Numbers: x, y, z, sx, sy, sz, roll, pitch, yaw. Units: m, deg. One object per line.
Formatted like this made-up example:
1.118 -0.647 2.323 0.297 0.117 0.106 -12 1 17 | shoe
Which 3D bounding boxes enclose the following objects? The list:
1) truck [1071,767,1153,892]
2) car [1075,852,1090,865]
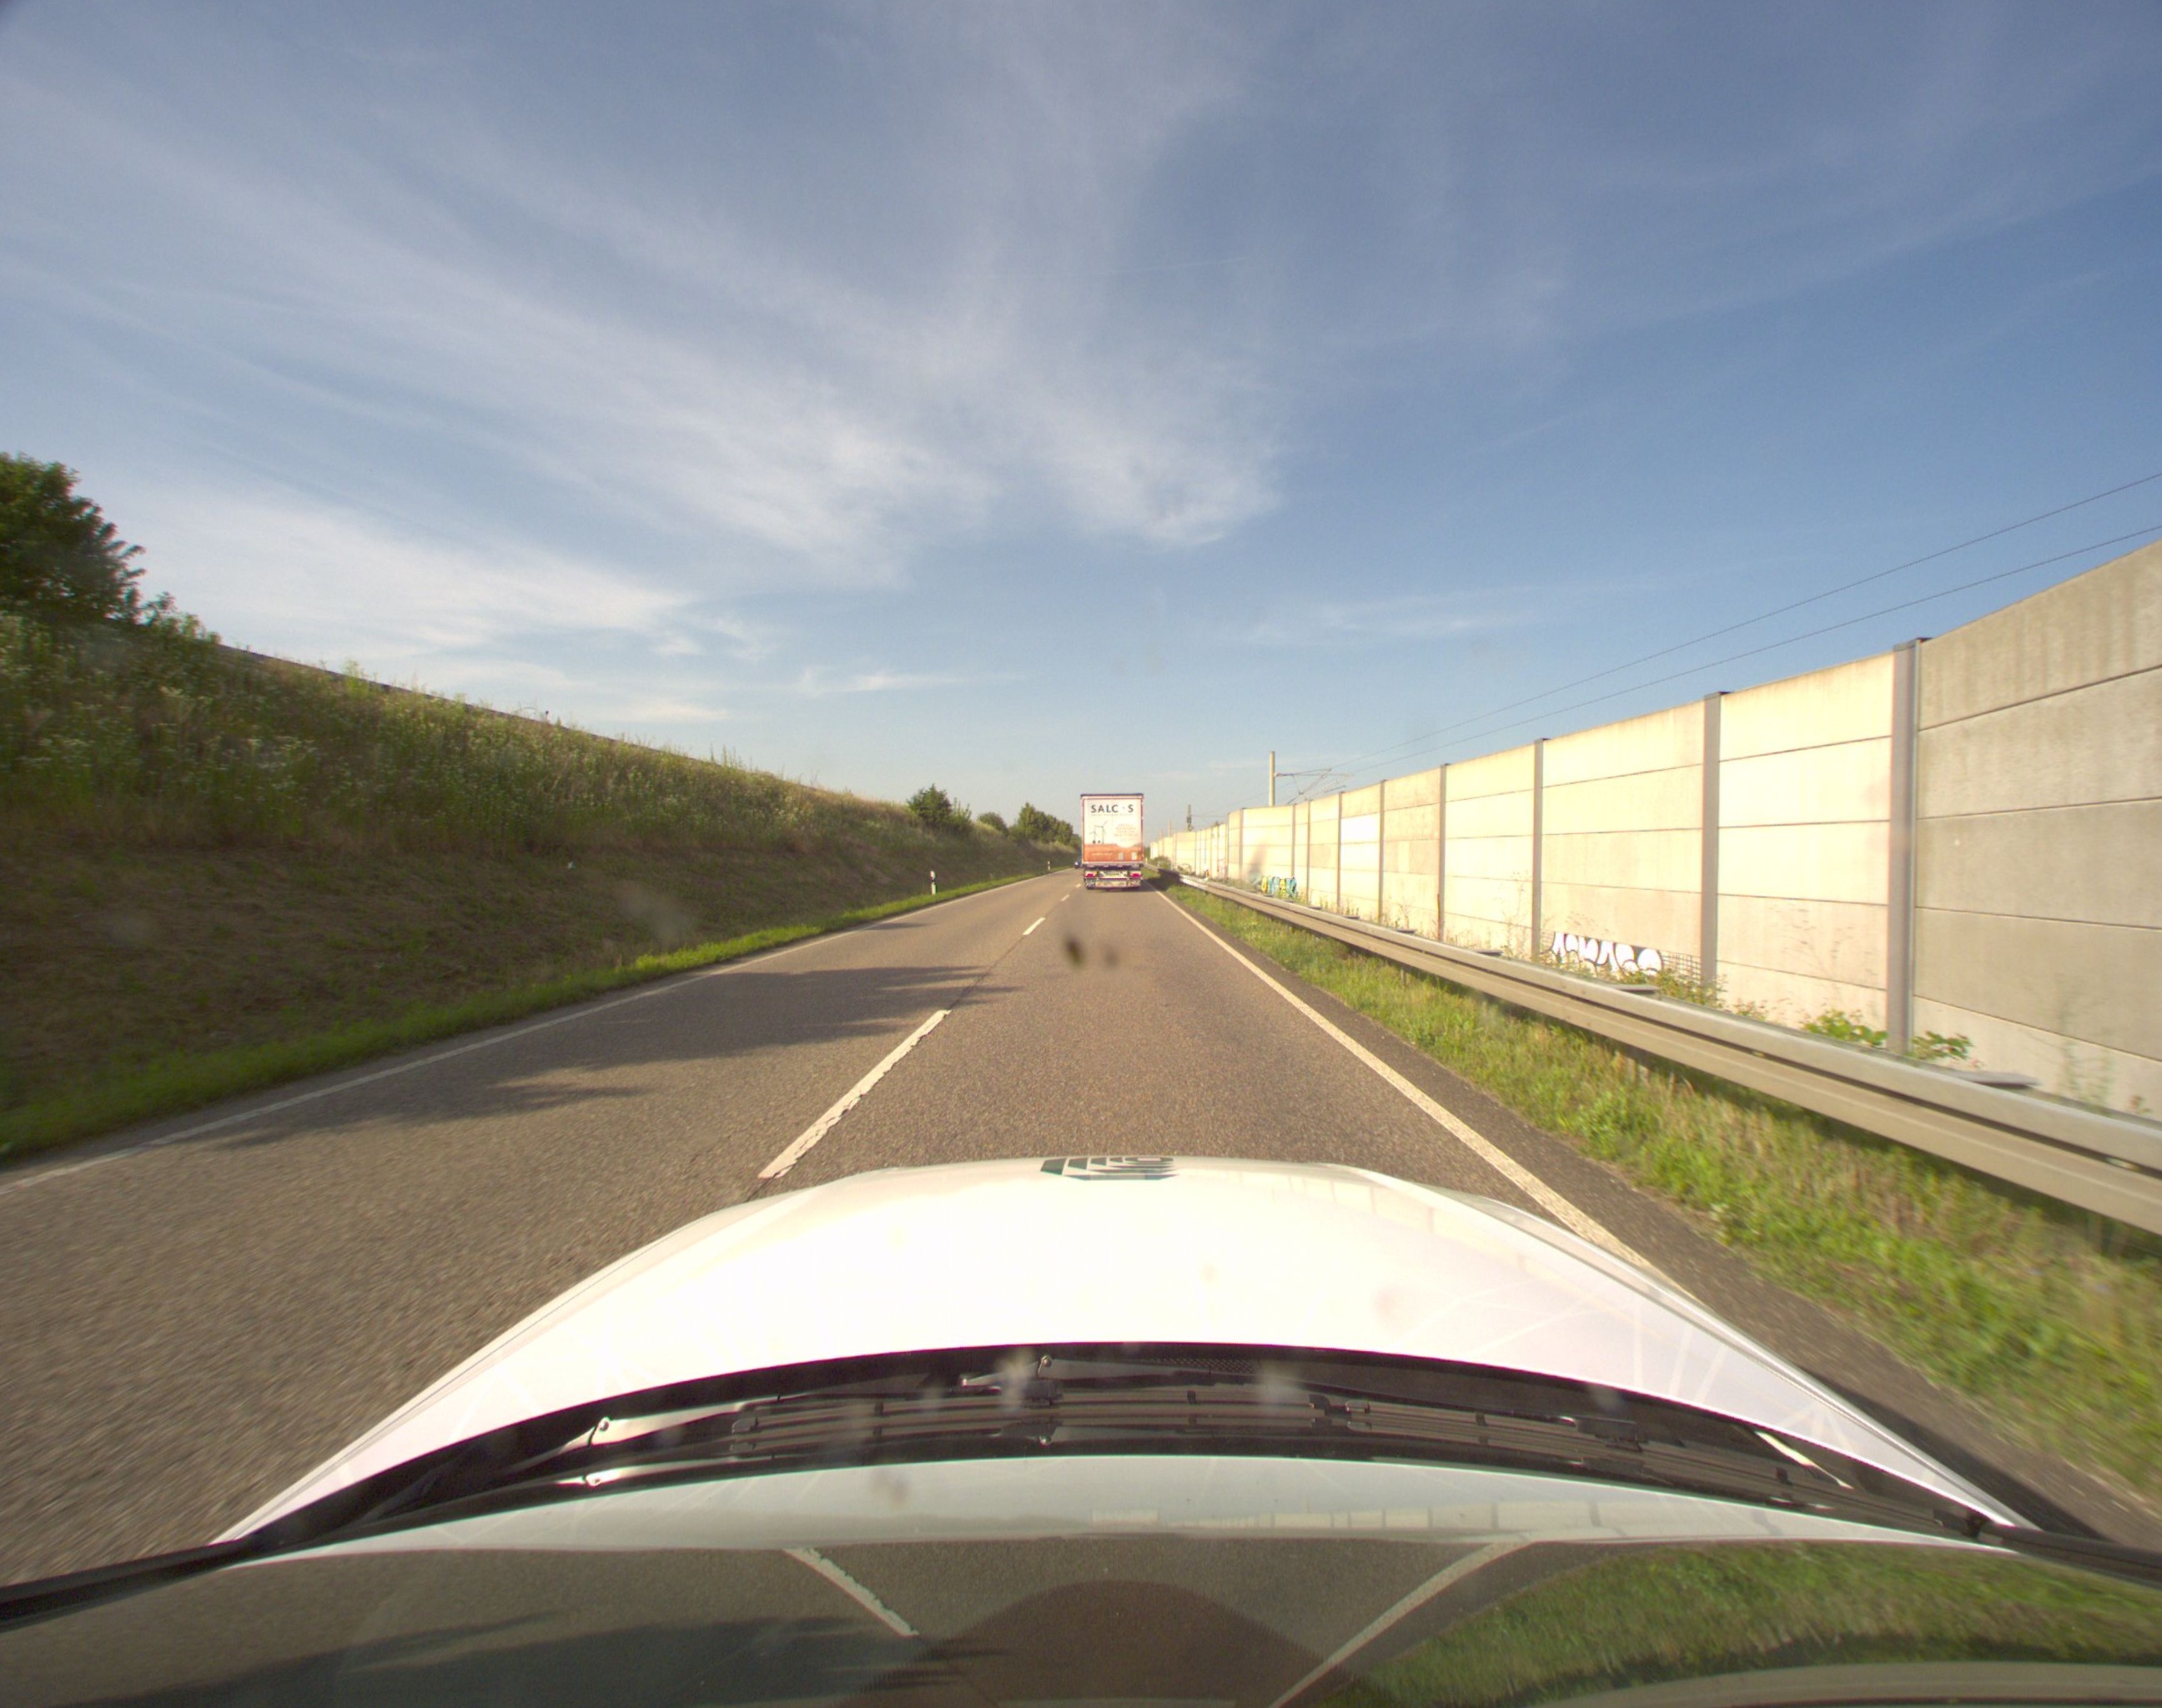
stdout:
1.557 -1.000 39.318 3.277 5.090 12.045 -1 0 3 | truck
0.186 0.541 94.951 1.710 1.453 4.020 -1 0 1 | car
